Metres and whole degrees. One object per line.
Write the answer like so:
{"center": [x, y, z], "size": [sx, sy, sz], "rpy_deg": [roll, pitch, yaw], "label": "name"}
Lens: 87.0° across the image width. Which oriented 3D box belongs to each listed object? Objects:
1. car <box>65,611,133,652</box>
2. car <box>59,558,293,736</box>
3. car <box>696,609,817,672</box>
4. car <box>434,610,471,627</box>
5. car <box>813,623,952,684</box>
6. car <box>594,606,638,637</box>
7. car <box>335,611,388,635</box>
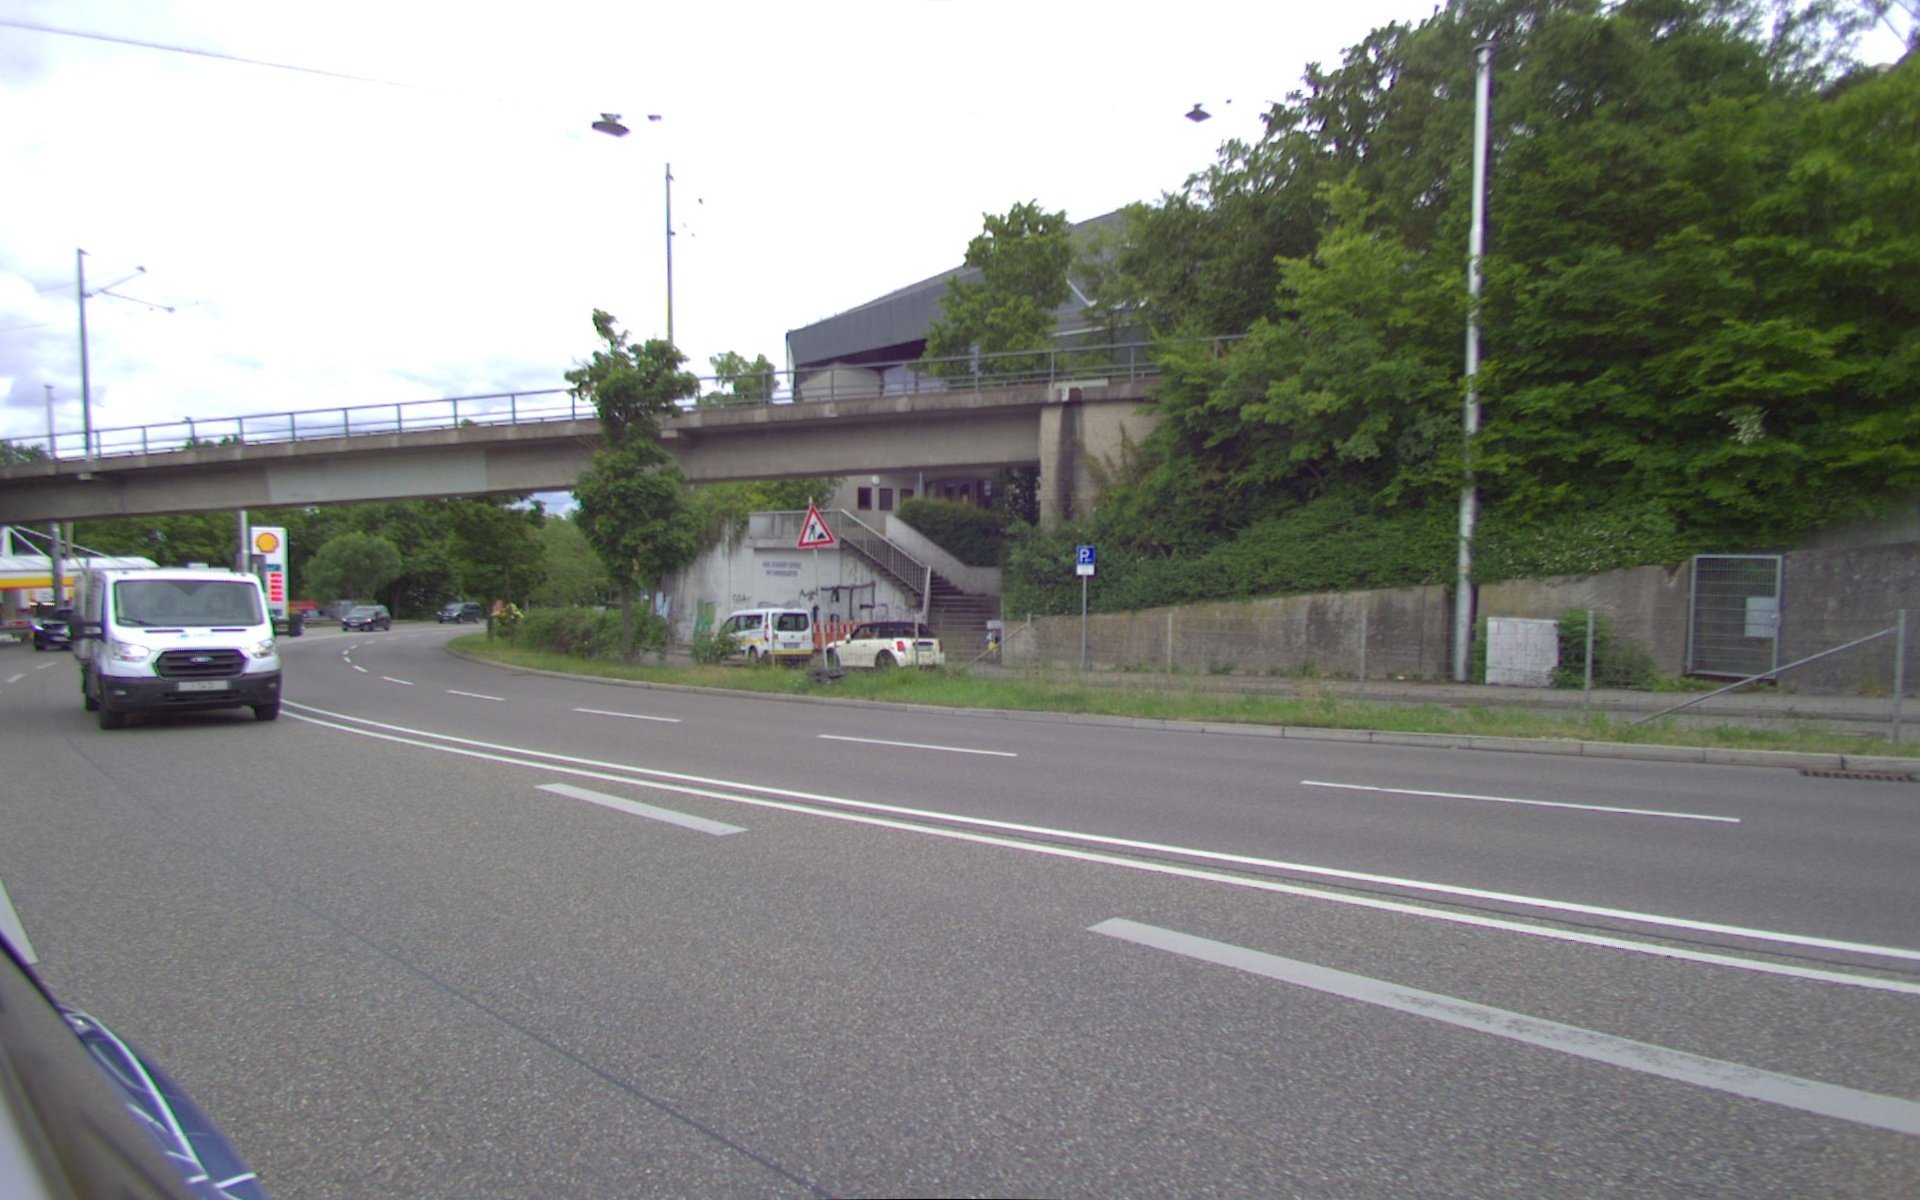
{"center": [-32.109, 1.142, 37.825], "size": [1.707, 1.421, 4.009], "rpy_deg": [1, -1, -37], "label": "car"}
{"center": [-12.073, 0.630, 15.372], "size": [6.271, 2.190, 1.971], "rpy_deg": [-1, -2, 45], "label": "car"}
{"center": [-6.341, 1.231, 31.201], "size": [1.744, 1.799, 4.473], "rpy_deg": [3, -3, -39], "label": "car"}
{"center": [-45.039, 1.625, 89.842], "size": [1.704, 1.489, 4.006], "rpy_deg": [0, -1, -7], "label": "car"}
{"center": [-2.061, 1.317, 26.057], "size": [1.744, 1.430, 3.810], "rpy_deg": [1, -2, -39], "label": "car"}
{"center": [-26.499, 1.610, 78.252], "size": [2.238, 2.290, 6.340], "rpy_deg": [1, -1, -10], "label": "car"}
{"center": [-38.622, 1.493, 65.358], "size": [1.702, 1.489, 4.009], "rpy_deg": [0, -1, -11], "label": "car"}
